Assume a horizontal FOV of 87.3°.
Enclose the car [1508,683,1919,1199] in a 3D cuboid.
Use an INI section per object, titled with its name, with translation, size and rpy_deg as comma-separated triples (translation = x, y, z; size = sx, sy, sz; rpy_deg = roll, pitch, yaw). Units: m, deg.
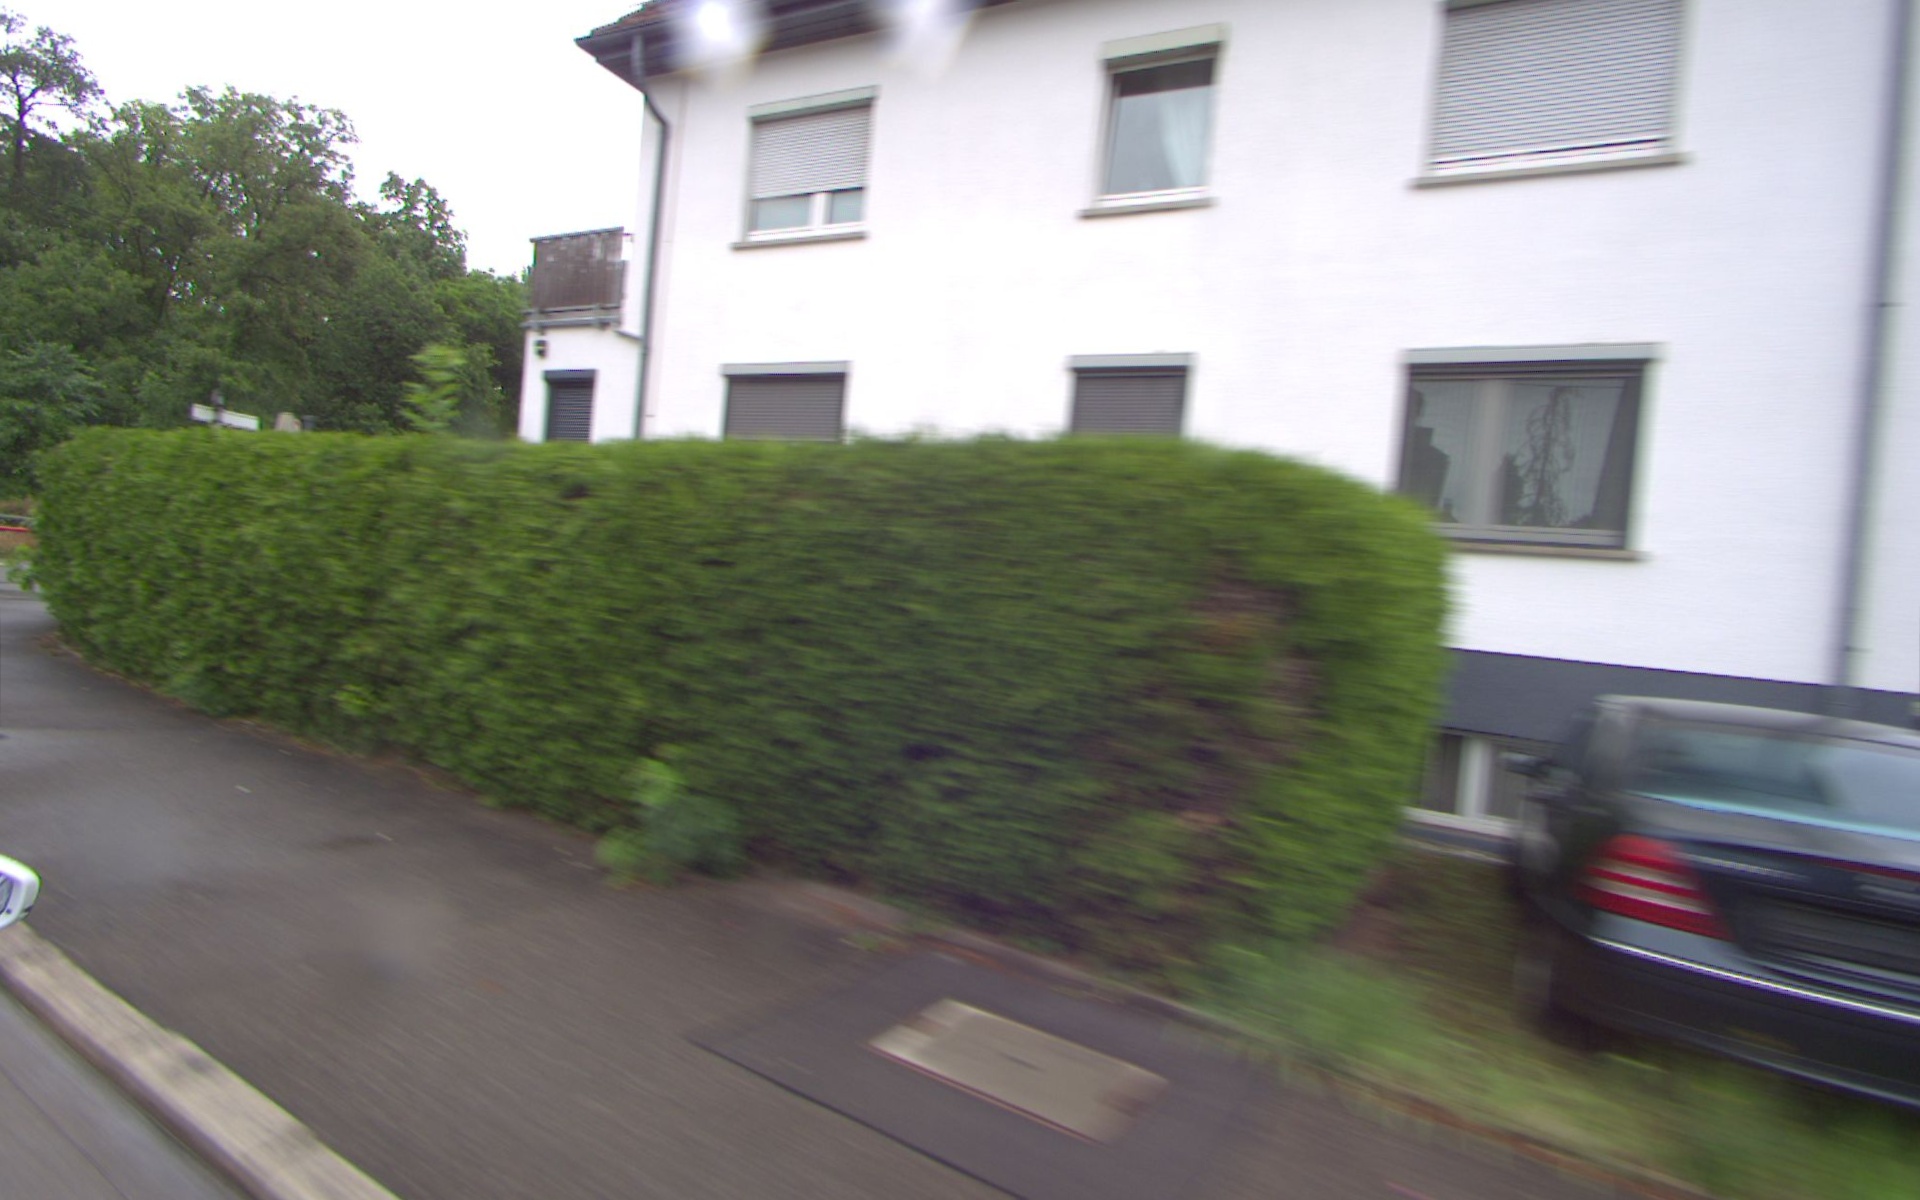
[car]
translation = 3.521, 1.253, 4.541
size = 1.589, 1.406, 3.747
rpy_deg = 9, 2, 30
